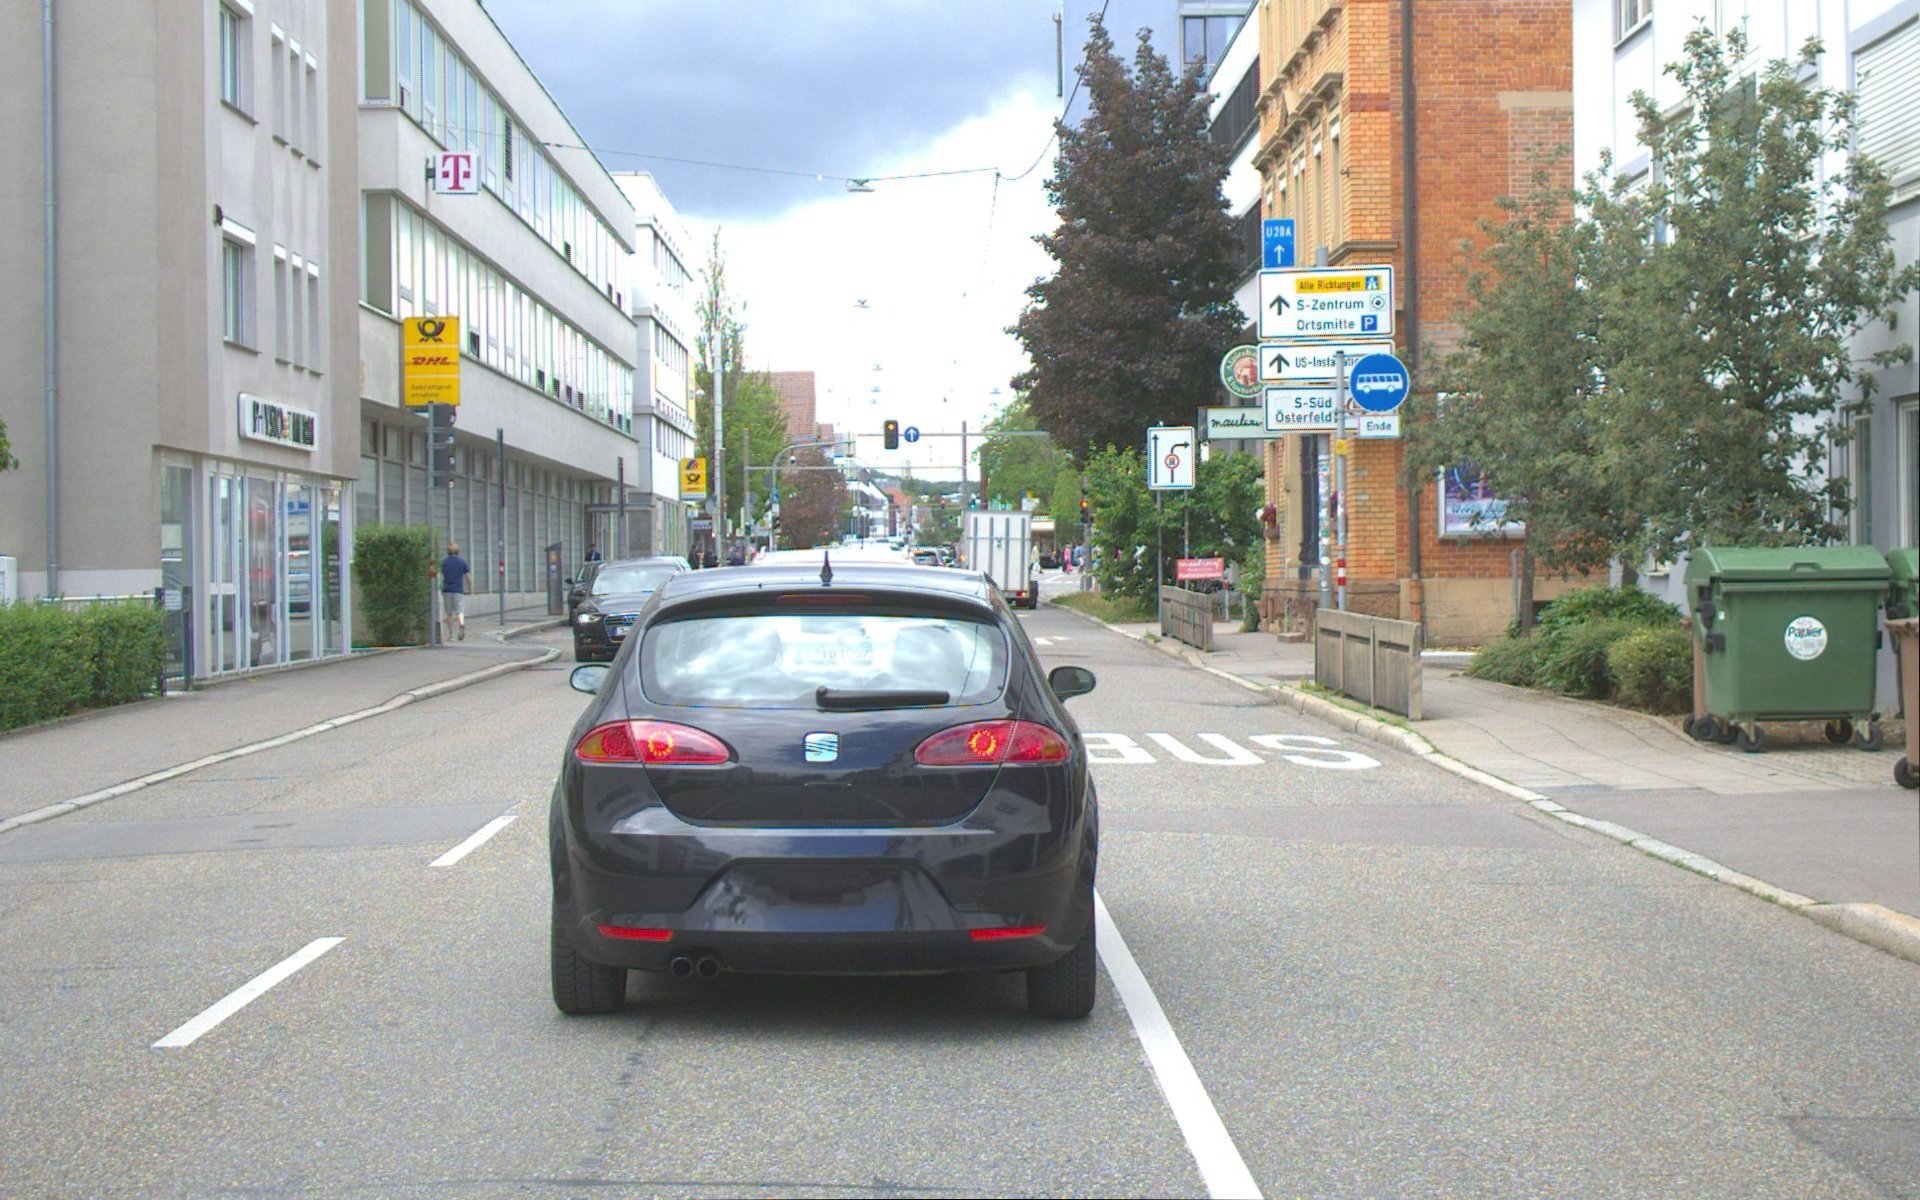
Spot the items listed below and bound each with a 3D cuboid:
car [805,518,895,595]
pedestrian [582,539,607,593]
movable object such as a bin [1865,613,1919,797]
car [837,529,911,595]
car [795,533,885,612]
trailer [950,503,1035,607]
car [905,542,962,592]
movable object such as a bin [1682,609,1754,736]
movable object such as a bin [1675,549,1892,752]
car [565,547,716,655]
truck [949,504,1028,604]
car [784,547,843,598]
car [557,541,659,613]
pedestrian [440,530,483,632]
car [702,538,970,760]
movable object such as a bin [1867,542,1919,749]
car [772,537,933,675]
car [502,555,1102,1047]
[{"bbox_3d":[-2.263,-0.901,71.419,1.803,1.547,3.738,0,1,-1],"label":"car"},{"bbox_3d":[-11.026,-1.020,103.711,0.656,1.617,0.681,0,1,0],"label":"pedestrian"},{"bbox_3d":[5.902,0.619,20.712,0.683,1.063,0.971,0,1,3],"label":"movable object such as a bin"},{"bbox_3d":[-2.179,-0.974,87.280,1.803,1.596,3.738,1,1,-1],"label":"car"},{"bbox_3d":[-2.477,-0.586,71.697,1.803,1.596,3.738,1,1,-1],"label":"car"},{"bbox_3d":[0.809,-1.175,88.904,1.993,2.598,5.350,0,1,-1],"label":"trailer"},{"bbox_3d":[-0.884,-1.109,113.831,1.803,1.596,3.738,1,1,-1],"label":"car"},{"bbox_3d":[5.608,0.534,25.446,0.430,0.917,0.465,0,1,0],"label":"movable object such as a bin"},{"bbox_3d":[5.882,0.342,24.631,1.267,1.412,1.162,0,1,0],"label":"movable object such as a bin"},{"bbox_3d":[-4.733,-0.019,51.463,1.878,1.446,4.214,-3,1,-1],"label":"car"},{"bbox_3d":[0.738,-1.227,91.680,1.993,2.598,3.260,0,1,-1],"label":"truck"},{"bbox_3d":[-5.363,-1.019,126.374,1.993,1.733,4.554,-3,1,-1],"label":"car"},{"bbox_3d":[-7.820,-0.528,76.664,1.912,1.511,4.175,-1,1,-1],"label":"car"},{"bbox_3d":[-8.709,-0.336,60.093,0.642,1.763,0.810,-1,1,-3],"label":"pedestrian"},{"bbox_3d":[-0.882,0.299,25.092,1.803,1.487,3.738,0,1,-1],"label":"car"},{"bbox_3d":[7.239,0.302,24.388,1.267,1.430,1.307,0,1,0],"label":"movable object such as a bin"},{"bbox_3d":[-1.251,0.039,40.630,1.803,1.547,3.738,0,1,-1],"label":"car"},{"bbox_3d":[-0.489,0.569,12.076,1.765,1.428,3.828,0,1,-1],"label":"car"}]
